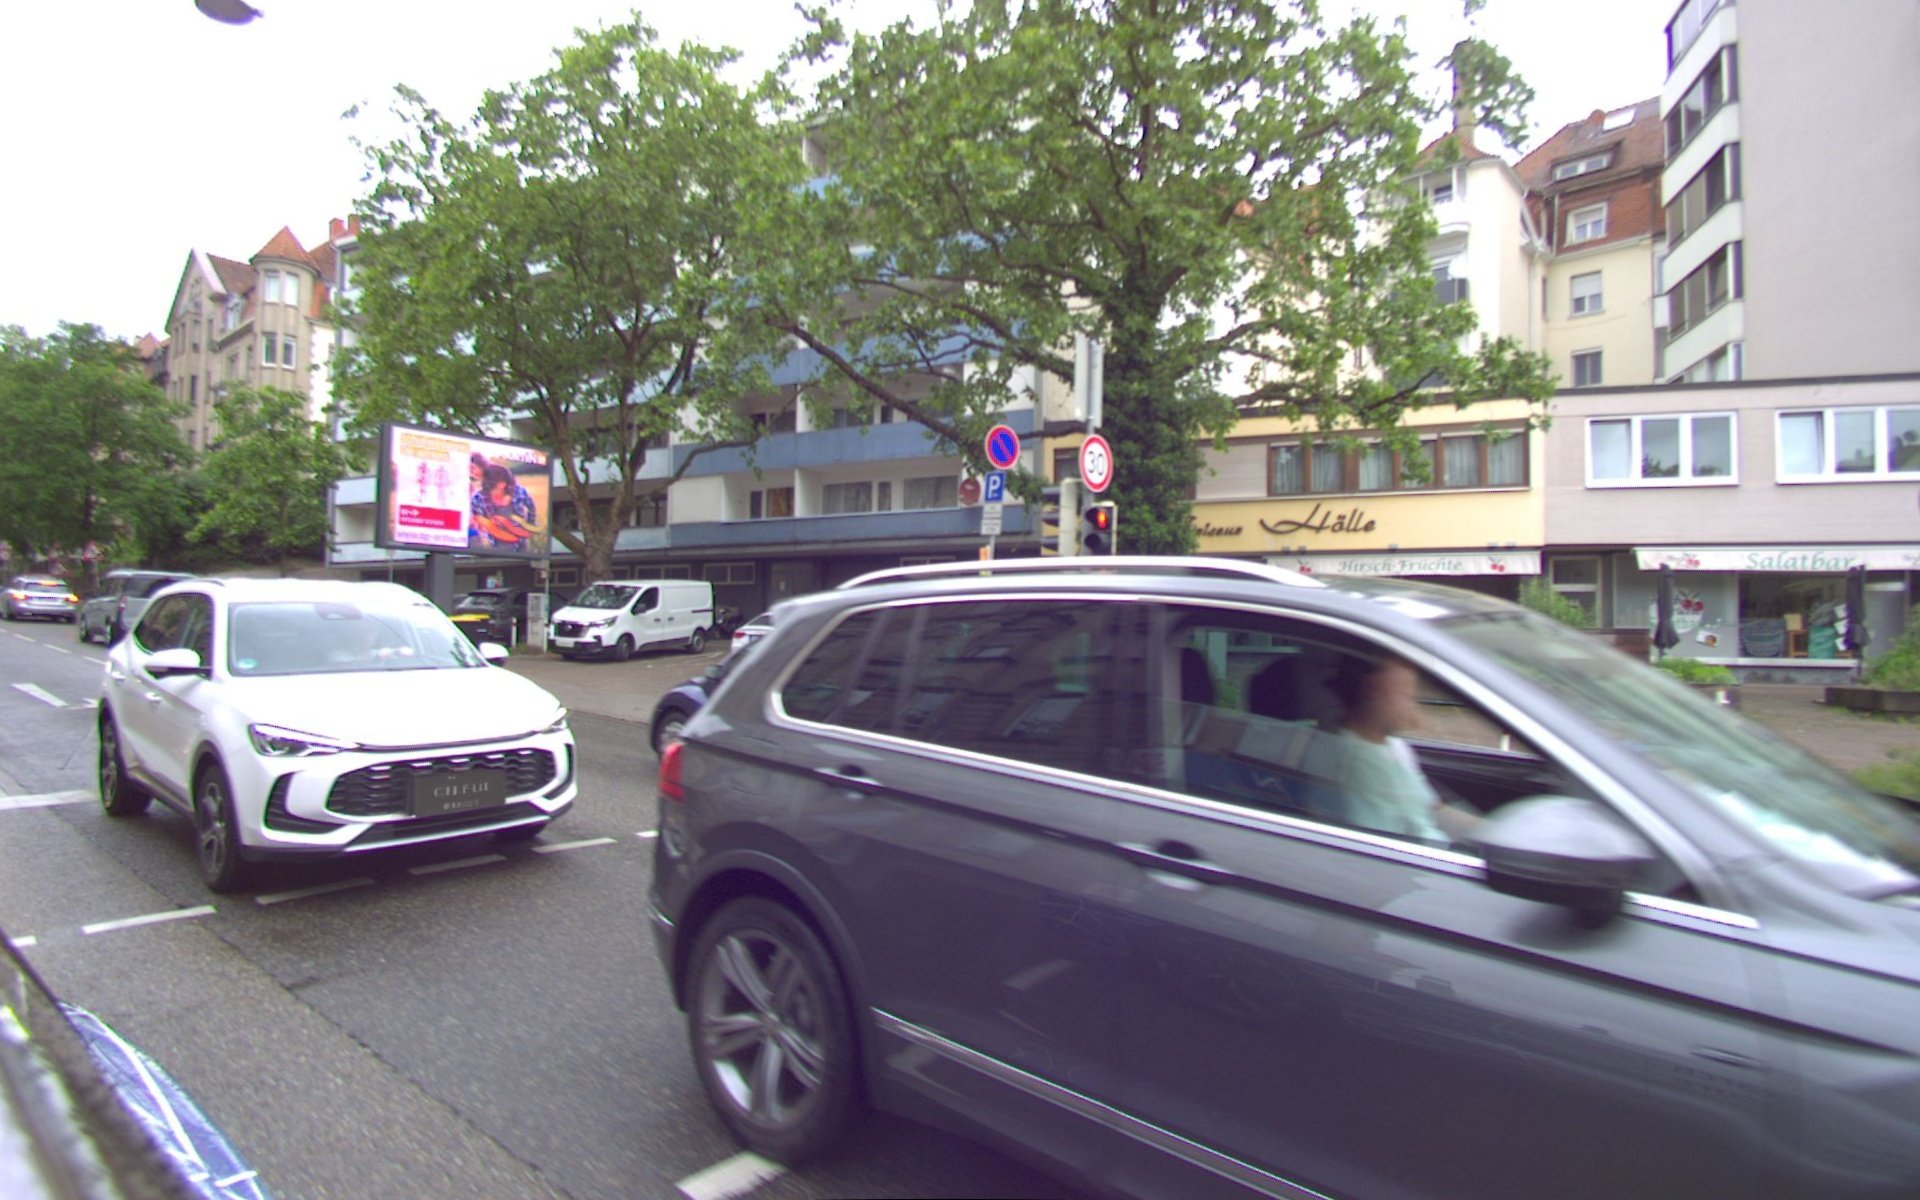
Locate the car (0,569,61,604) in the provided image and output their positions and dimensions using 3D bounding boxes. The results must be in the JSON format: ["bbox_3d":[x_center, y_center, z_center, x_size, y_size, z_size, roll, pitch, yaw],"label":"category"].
[{"bbox_3d":[-45.947,-0.647,50.008,3.885,1.517,1.730,1,-4,42],"label":"car"}]

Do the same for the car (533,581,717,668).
[{"bbox_3d":[-8.444,0.579,26.094,1.866,1.992,4.944,1,0,19],"label":"car"}]

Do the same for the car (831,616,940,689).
[{"bbox_3d":[-1.595,1.119,22.879,1.613,1.426,3.611,1,0,10],"label":"car"}]

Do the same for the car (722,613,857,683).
[{"bbox_3d":[-3.881,1.050,23.683,1.795,1.426,3.688,1,0,14],"label":"car"}]

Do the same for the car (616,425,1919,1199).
[{"bbox_3d":[1.112,0.644,2.414,4.208,1.657,1.734,-2,-2,40],"label":"car"}]

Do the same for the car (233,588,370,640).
[{"bbox_3d":[-22.286,0.424,34.410,1.753,1.543,3.822,1,2,12],"label":"car"}]

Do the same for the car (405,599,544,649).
[{"bbox_3d":[-14.797,0.711,31.074,1.678,1.416,3.812,1,-1,19],"label":"car"}]

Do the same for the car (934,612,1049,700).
[{"bbox_3d":[0.794,1.121,22.129,1.920,1.655,4.203,1,0,10],"label":"car"}]

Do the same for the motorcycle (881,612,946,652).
[{"bbox_3d":[-1.461,0.993,31.640,1.953,1.176,0.697,1,-1,30],"label":"motorcycle"}]

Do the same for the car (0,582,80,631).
[{"bbox_3d":[-31.307,0.185,34.085,4.321,1.459,1.709,1,-4,39],"label":"car"}]

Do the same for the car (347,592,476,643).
[{"bbox_3d":[-17.419,0.517,32.348,1.661,1.416,3.826,1,2,9],"label":"car"}]

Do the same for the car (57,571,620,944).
[{"bbox_3d":[-4.213,0.682,6.548,4.374,1.657,1.735,1,0,39],"label":"car"}]

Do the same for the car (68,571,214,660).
[{"bbox_3d":[-19.867,0.355,24.496,4.238,1.896,1.795,1,-5,40],"label":"car"}]

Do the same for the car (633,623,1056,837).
[{"bbox_3d":[-1.143,1.014,9.184,3.678,1.508,1.697,0,-3,39],"label":"car"}]

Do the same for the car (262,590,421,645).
[{"bbox_3d":[-19.696,0.521,32.470,1.795,1.605,4.290,1,1,15],"label":"car"}]

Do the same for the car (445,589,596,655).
[{"bbox_3d":[-12.517,0.625,29.077,1.793,1.702,3.809,2,-1,21],"label":"car"}]
